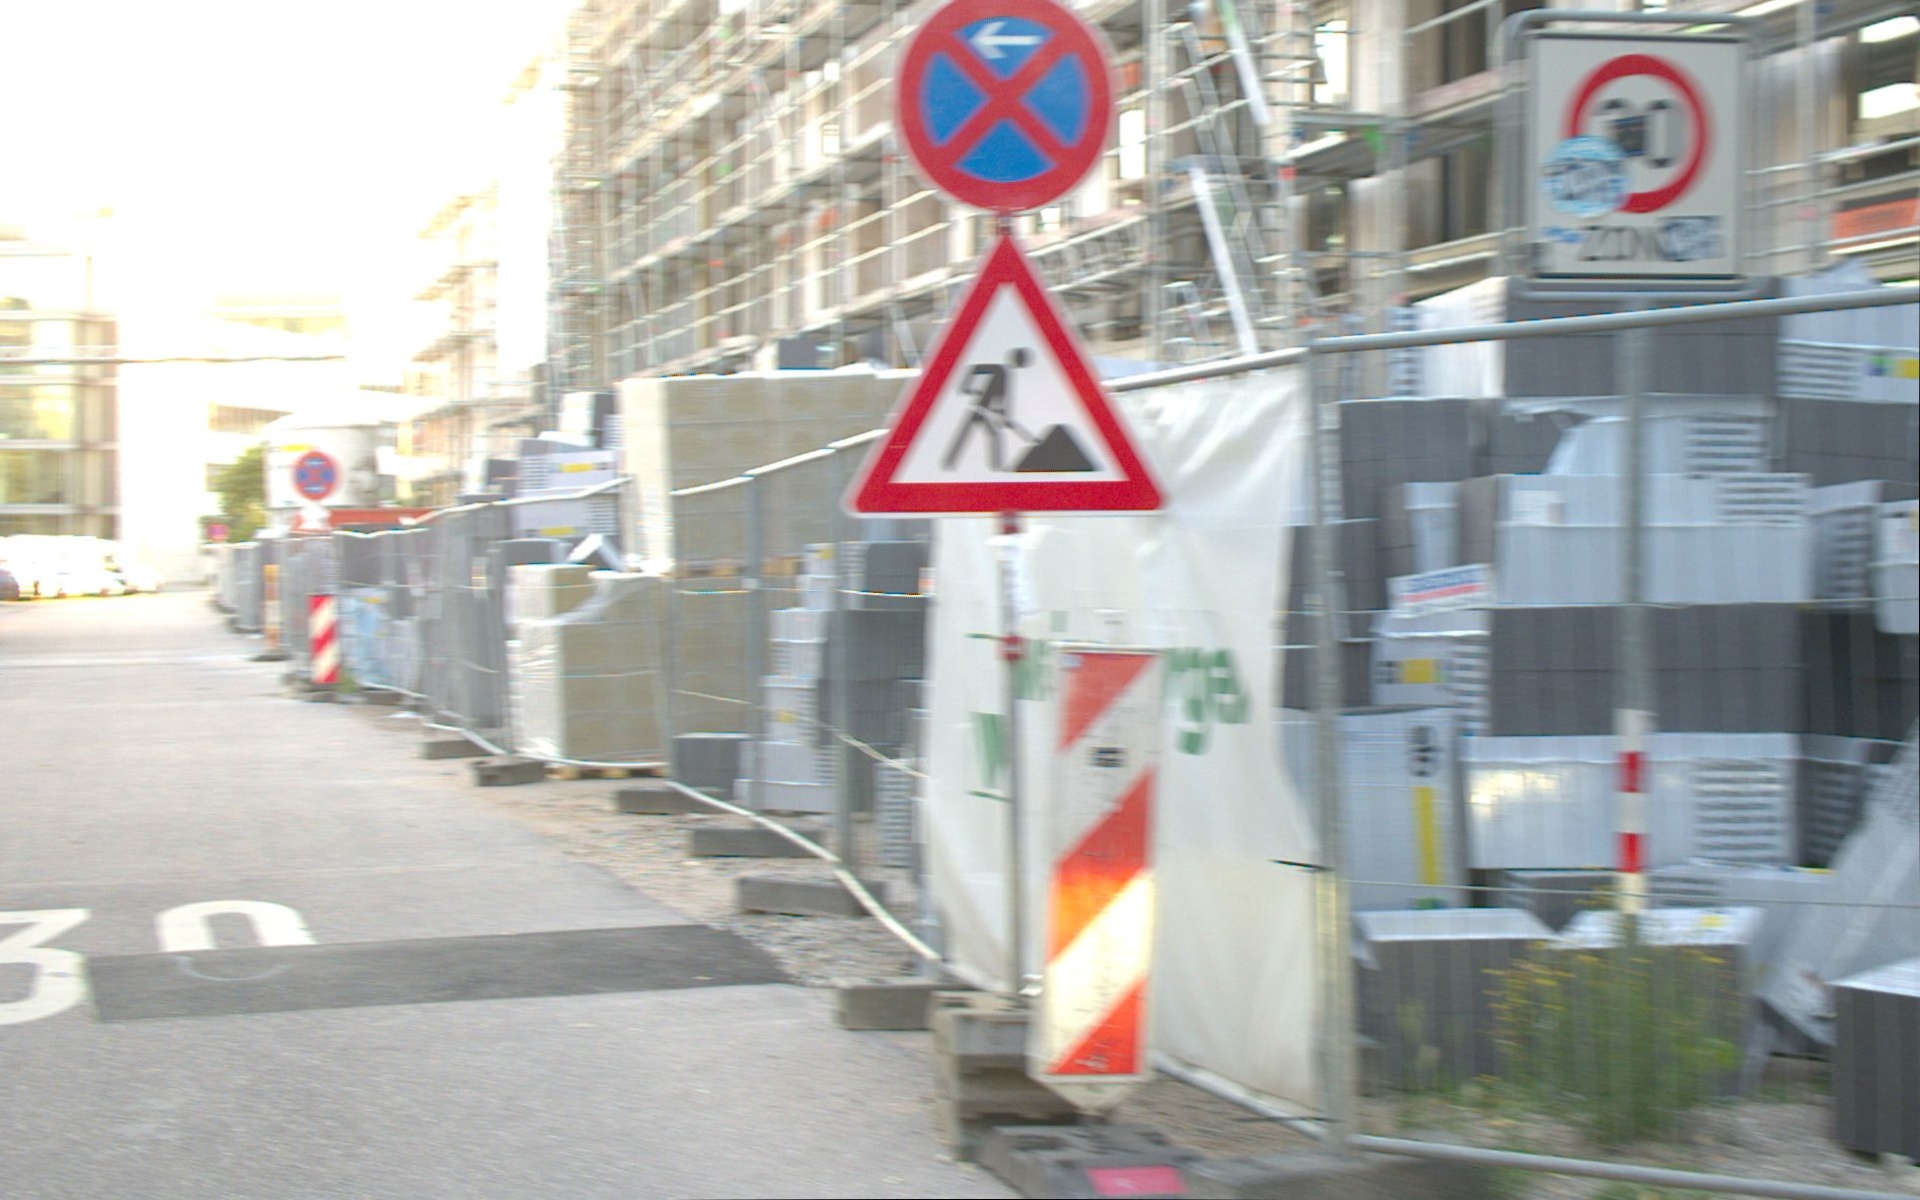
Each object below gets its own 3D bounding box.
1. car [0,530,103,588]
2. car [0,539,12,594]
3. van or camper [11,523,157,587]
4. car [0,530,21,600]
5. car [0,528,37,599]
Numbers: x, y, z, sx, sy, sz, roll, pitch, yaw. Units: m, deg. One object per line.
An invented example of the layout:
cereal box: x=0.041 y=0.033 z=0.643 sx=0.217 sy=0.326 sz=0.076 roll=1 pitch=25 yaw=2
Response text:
car: x=-40.448 y=-1.785 z=149.348 sx=5.923 sy=2.481 sz=2.000 roll=0 pitch=1 yaw=-2
car: x=-34.585 y=-1.130 z=116.697 sx=4.502 sy=1.862 sz=2.001 roll=-1 pitch=1 yaw=-19
van or camper: x=-41.543 y=-2.138 z=163.188 sx=6.332 sy=2.968 sz=2.293 roll=0 pitch=0 yaw=-1
car: x=-38.870 y=-1.317 z=130.053 sx=6.326 sy=2.642 sz=2.001 roll=-1 pitch=1 yaw=-13
car: x=-39.234 y=-1.408 z=133.705 sx=6.326 sy=2.731 sz=2.001 roll=-1 pitch=1 yaw=-13
